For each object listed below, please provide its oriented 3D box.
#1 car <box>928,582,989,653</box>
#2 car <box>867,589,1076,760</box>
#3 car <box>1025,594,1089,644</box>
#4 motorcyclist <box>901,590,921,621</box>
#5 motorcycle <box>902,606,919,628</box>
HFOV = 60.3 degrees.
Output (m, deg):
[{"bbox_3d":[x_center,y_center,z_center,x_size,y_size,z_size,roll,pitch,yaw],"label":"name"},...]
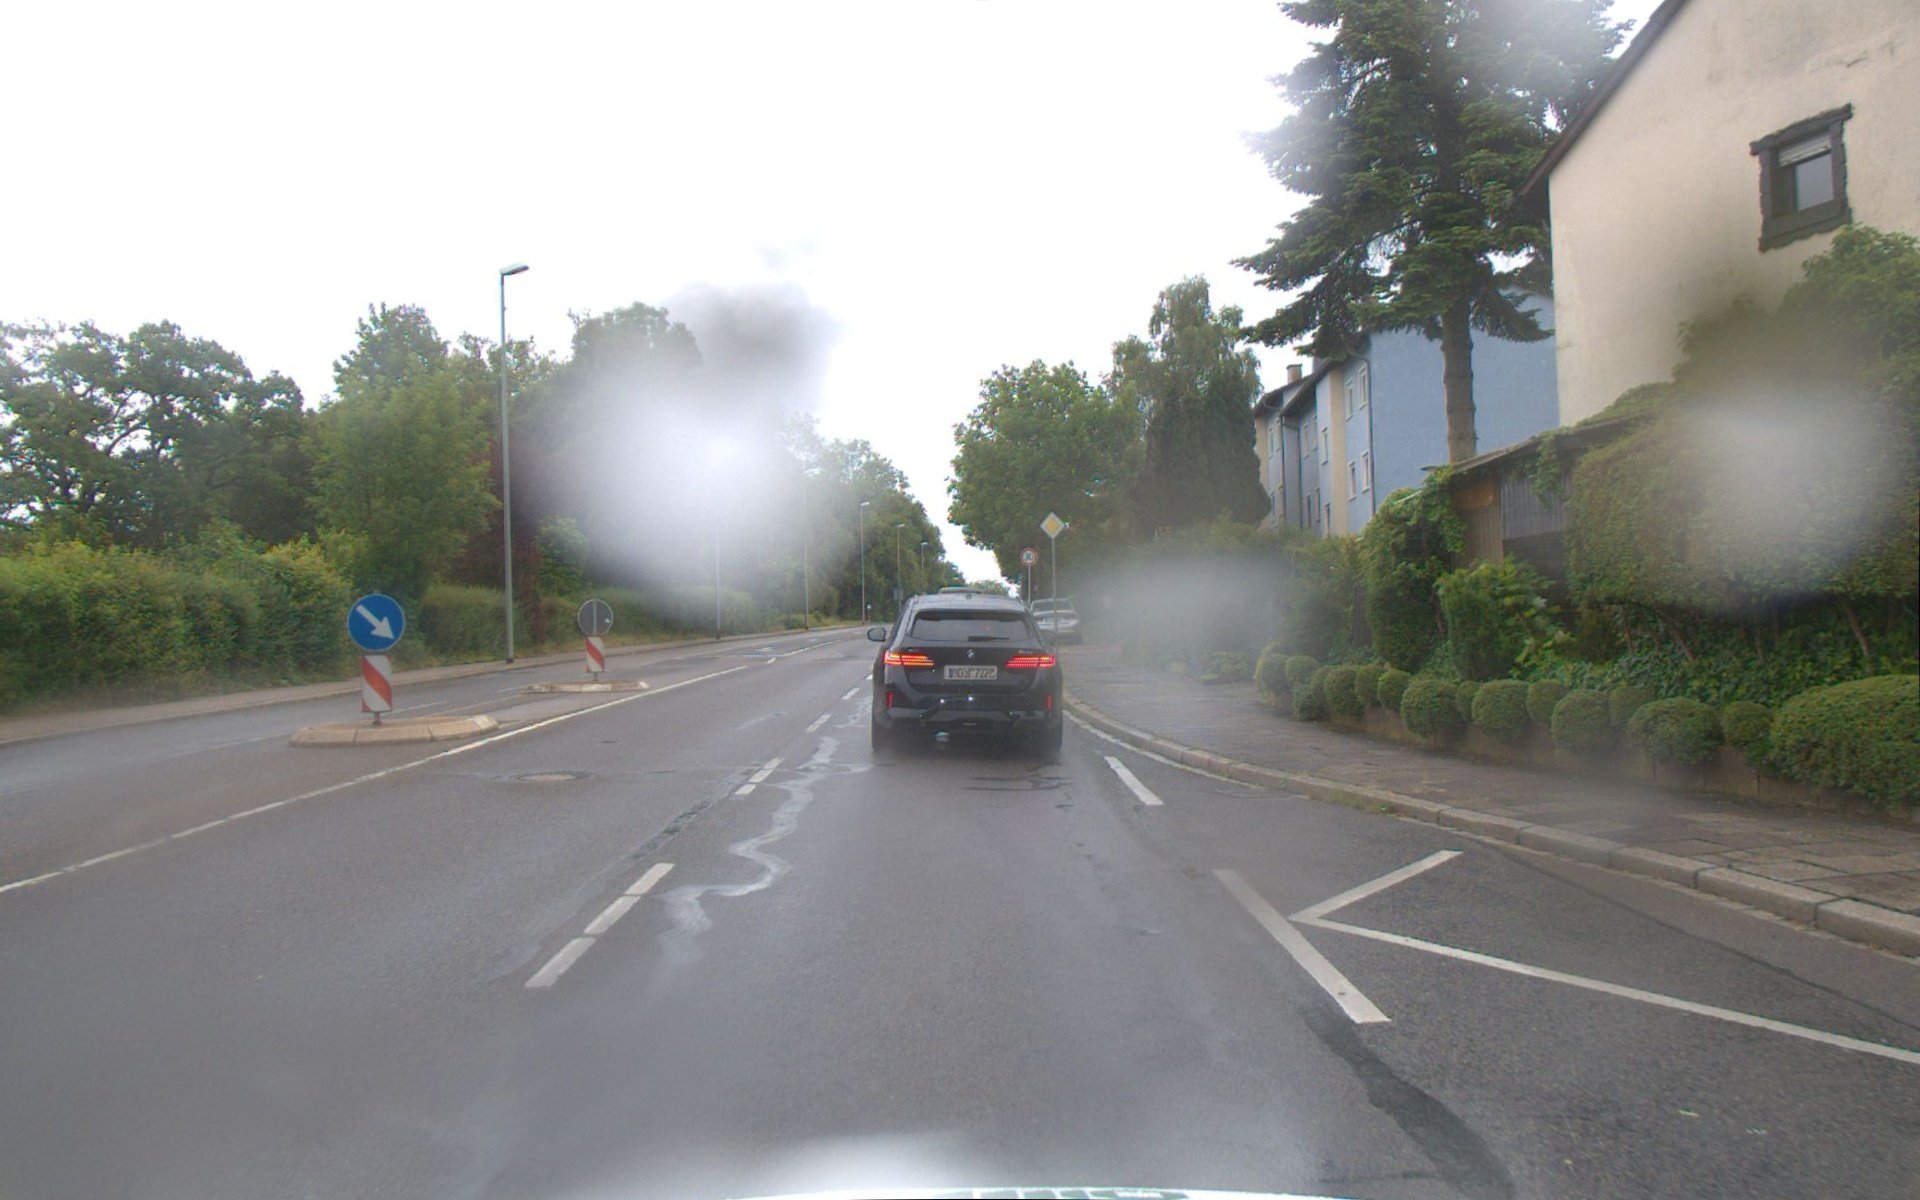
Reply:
[{"bbox_3d":[-0.063,0.455,46.278,1.596,1.865,4.000,-2,1,-1],"label":"car"},{"bbox_3d":[0.120,0.670,16.945,1.858,1.515,4.000,1,0,0],"label":"car"},{"bbox_3d":[3.056,0.574,52.763,1.895,1.467,4.409,-1,0,2],"label":"car"},{"bbox_3d":[-2.626,0.299,88.572,1.018,1.595,0.855,1,-1,-1],"label":"motorcyclist"},{"bbox_3d":[-2.631,0.885,88.517,0.858,1.144,2.740,1,0,-1],"label":"motorcycle"}]
